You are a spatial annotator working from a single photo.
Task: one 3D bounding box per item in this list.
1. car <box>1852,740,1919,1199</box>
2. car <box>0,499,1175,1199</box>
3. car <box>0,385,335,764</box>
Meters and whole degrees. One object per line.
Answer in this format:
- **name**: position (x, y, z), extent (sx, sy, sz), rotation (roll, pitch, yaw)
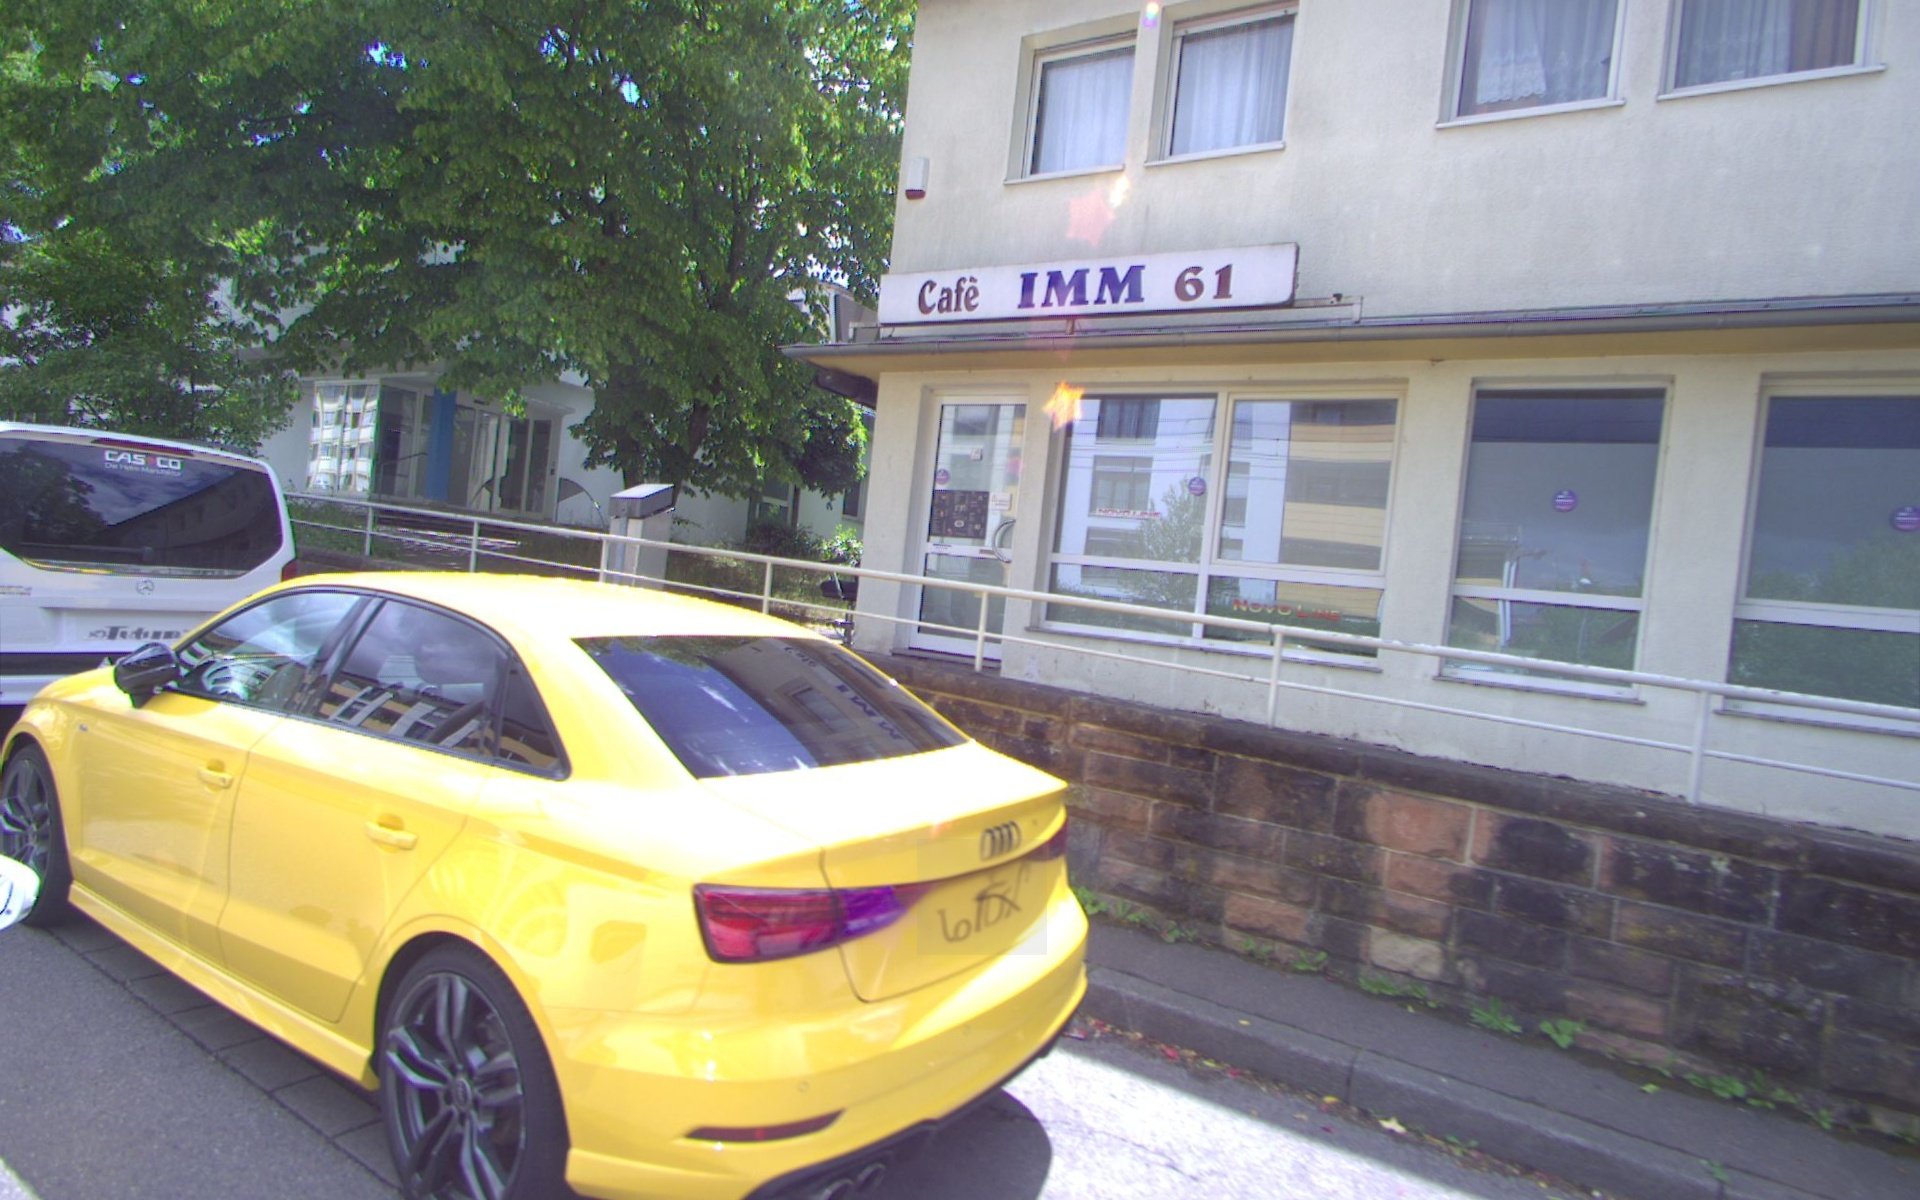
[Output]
- **car**: position (3.577, 1.227, 0.450), extent (4.417, 1.460, 1.757), rotation (7, 1, 30)
- **car**: position (-1.663, 0.580, 3.502), extent (4.269, 1.461, 1.756), rotation (7, 1, 32)
- **car**: position (-7.108, -0.372, 7.280), extent (5.648, 1.983, 1.916), rotation (7, 1, 31)
